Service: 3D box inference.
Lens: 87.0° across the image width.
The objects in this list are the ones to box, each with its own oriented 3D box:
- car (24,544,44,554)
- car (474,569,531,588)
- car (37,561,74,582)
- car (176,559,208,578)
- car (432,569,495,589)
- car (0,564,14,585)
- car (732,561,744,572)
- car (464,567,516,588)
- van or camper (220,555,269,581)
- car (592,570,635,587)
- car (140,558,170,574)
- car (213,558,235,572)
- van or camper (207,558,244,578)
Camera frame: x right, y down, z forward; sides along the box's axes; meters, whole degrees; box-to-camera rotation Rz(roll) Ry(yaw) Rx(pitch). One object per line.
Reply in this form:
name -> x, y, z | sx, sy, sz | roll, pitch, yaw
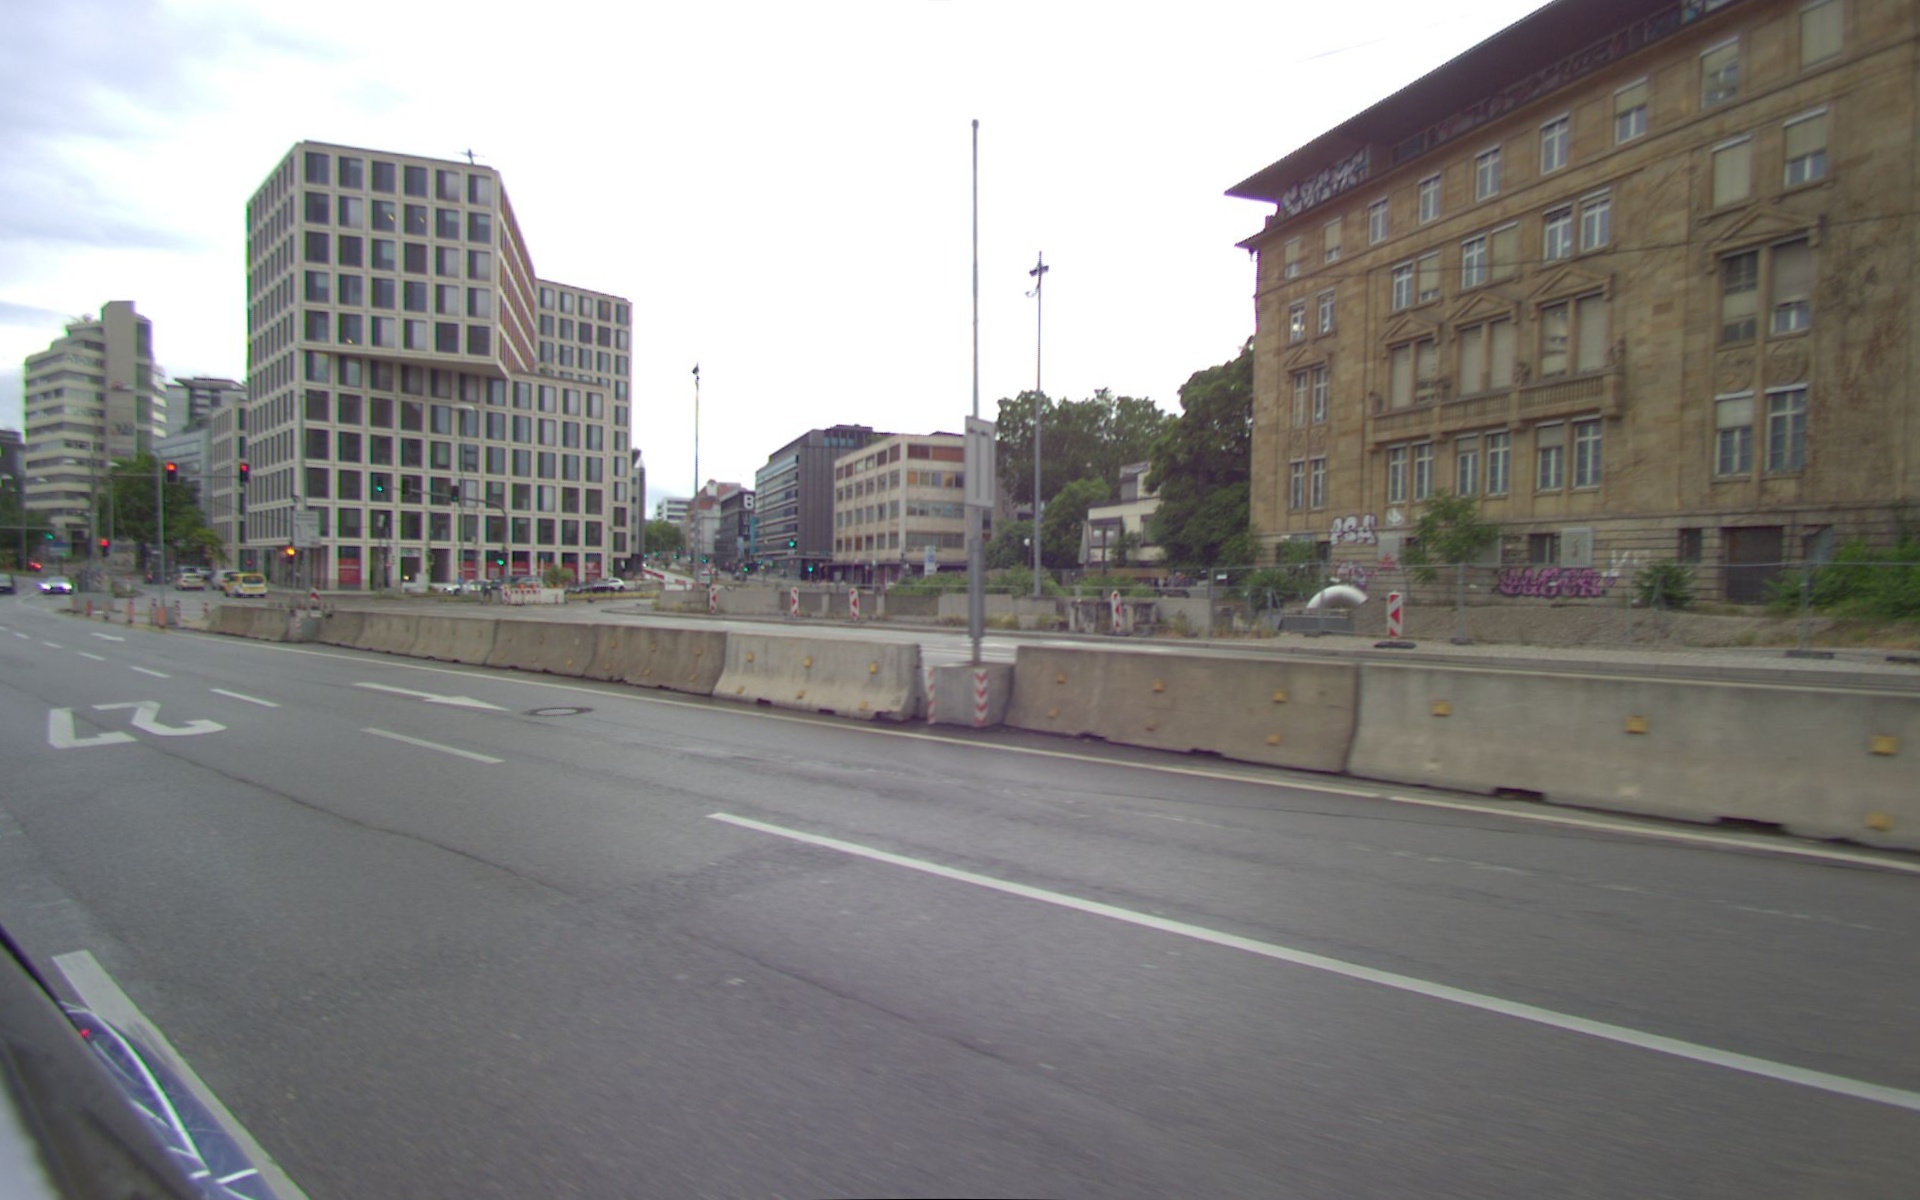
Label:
car -> -144.528, -7.968, 157.890 | 4.179, 1.610, 1.826 | 2, 3, 41
car -> -37.530, -1.756, 83.145 | 1.831, 1.497, 3.955 | 2, 2, 33
car -> -73.144, -2.305, 81.863 | 1.986, 1.610, 4.672 | -1, 3, -39
car -> -74.341, -3.058, 97.929 | 4.381, 1.686, 1.822 | 3, 3, 43
car -> -45.886, -1.949, 93.582 | 2.228, 1.766, 4.747 | 2, 2, 41
car -> -75.655, -2.018, 79.417 | 1.988, 1.610, 4.668 | -1, 3, -44
car -> -40.711, -6.107, 185.374 | 1.967, 2.029, 4.011 | 1, 1, -13
car -> -42.435, -2.037, 91.449 | 1.807, 1.829, 3.942 | 3, 3, 45
van or camper -> -57.799, -2.598, 81.737 | 5.610, 2.069, 2.214 | 3, 3, 44
car -> -35.518, -2.181, 103.842 | 1.848, 1.729, 4.093 | 1, 1, 27
car -> -88.732, -3.743, 111.496 | 4.179, 1.610, 1.826 | 2, 3, 41
car -> -84.379, -4.031, 116.008 | 1.838, 1.534, 4.008 | 0, 2, -39
van or camper -> -72.192, -3.184, 99.448 | 5.210, 1.908, 1.862 | 2, 3, 41
